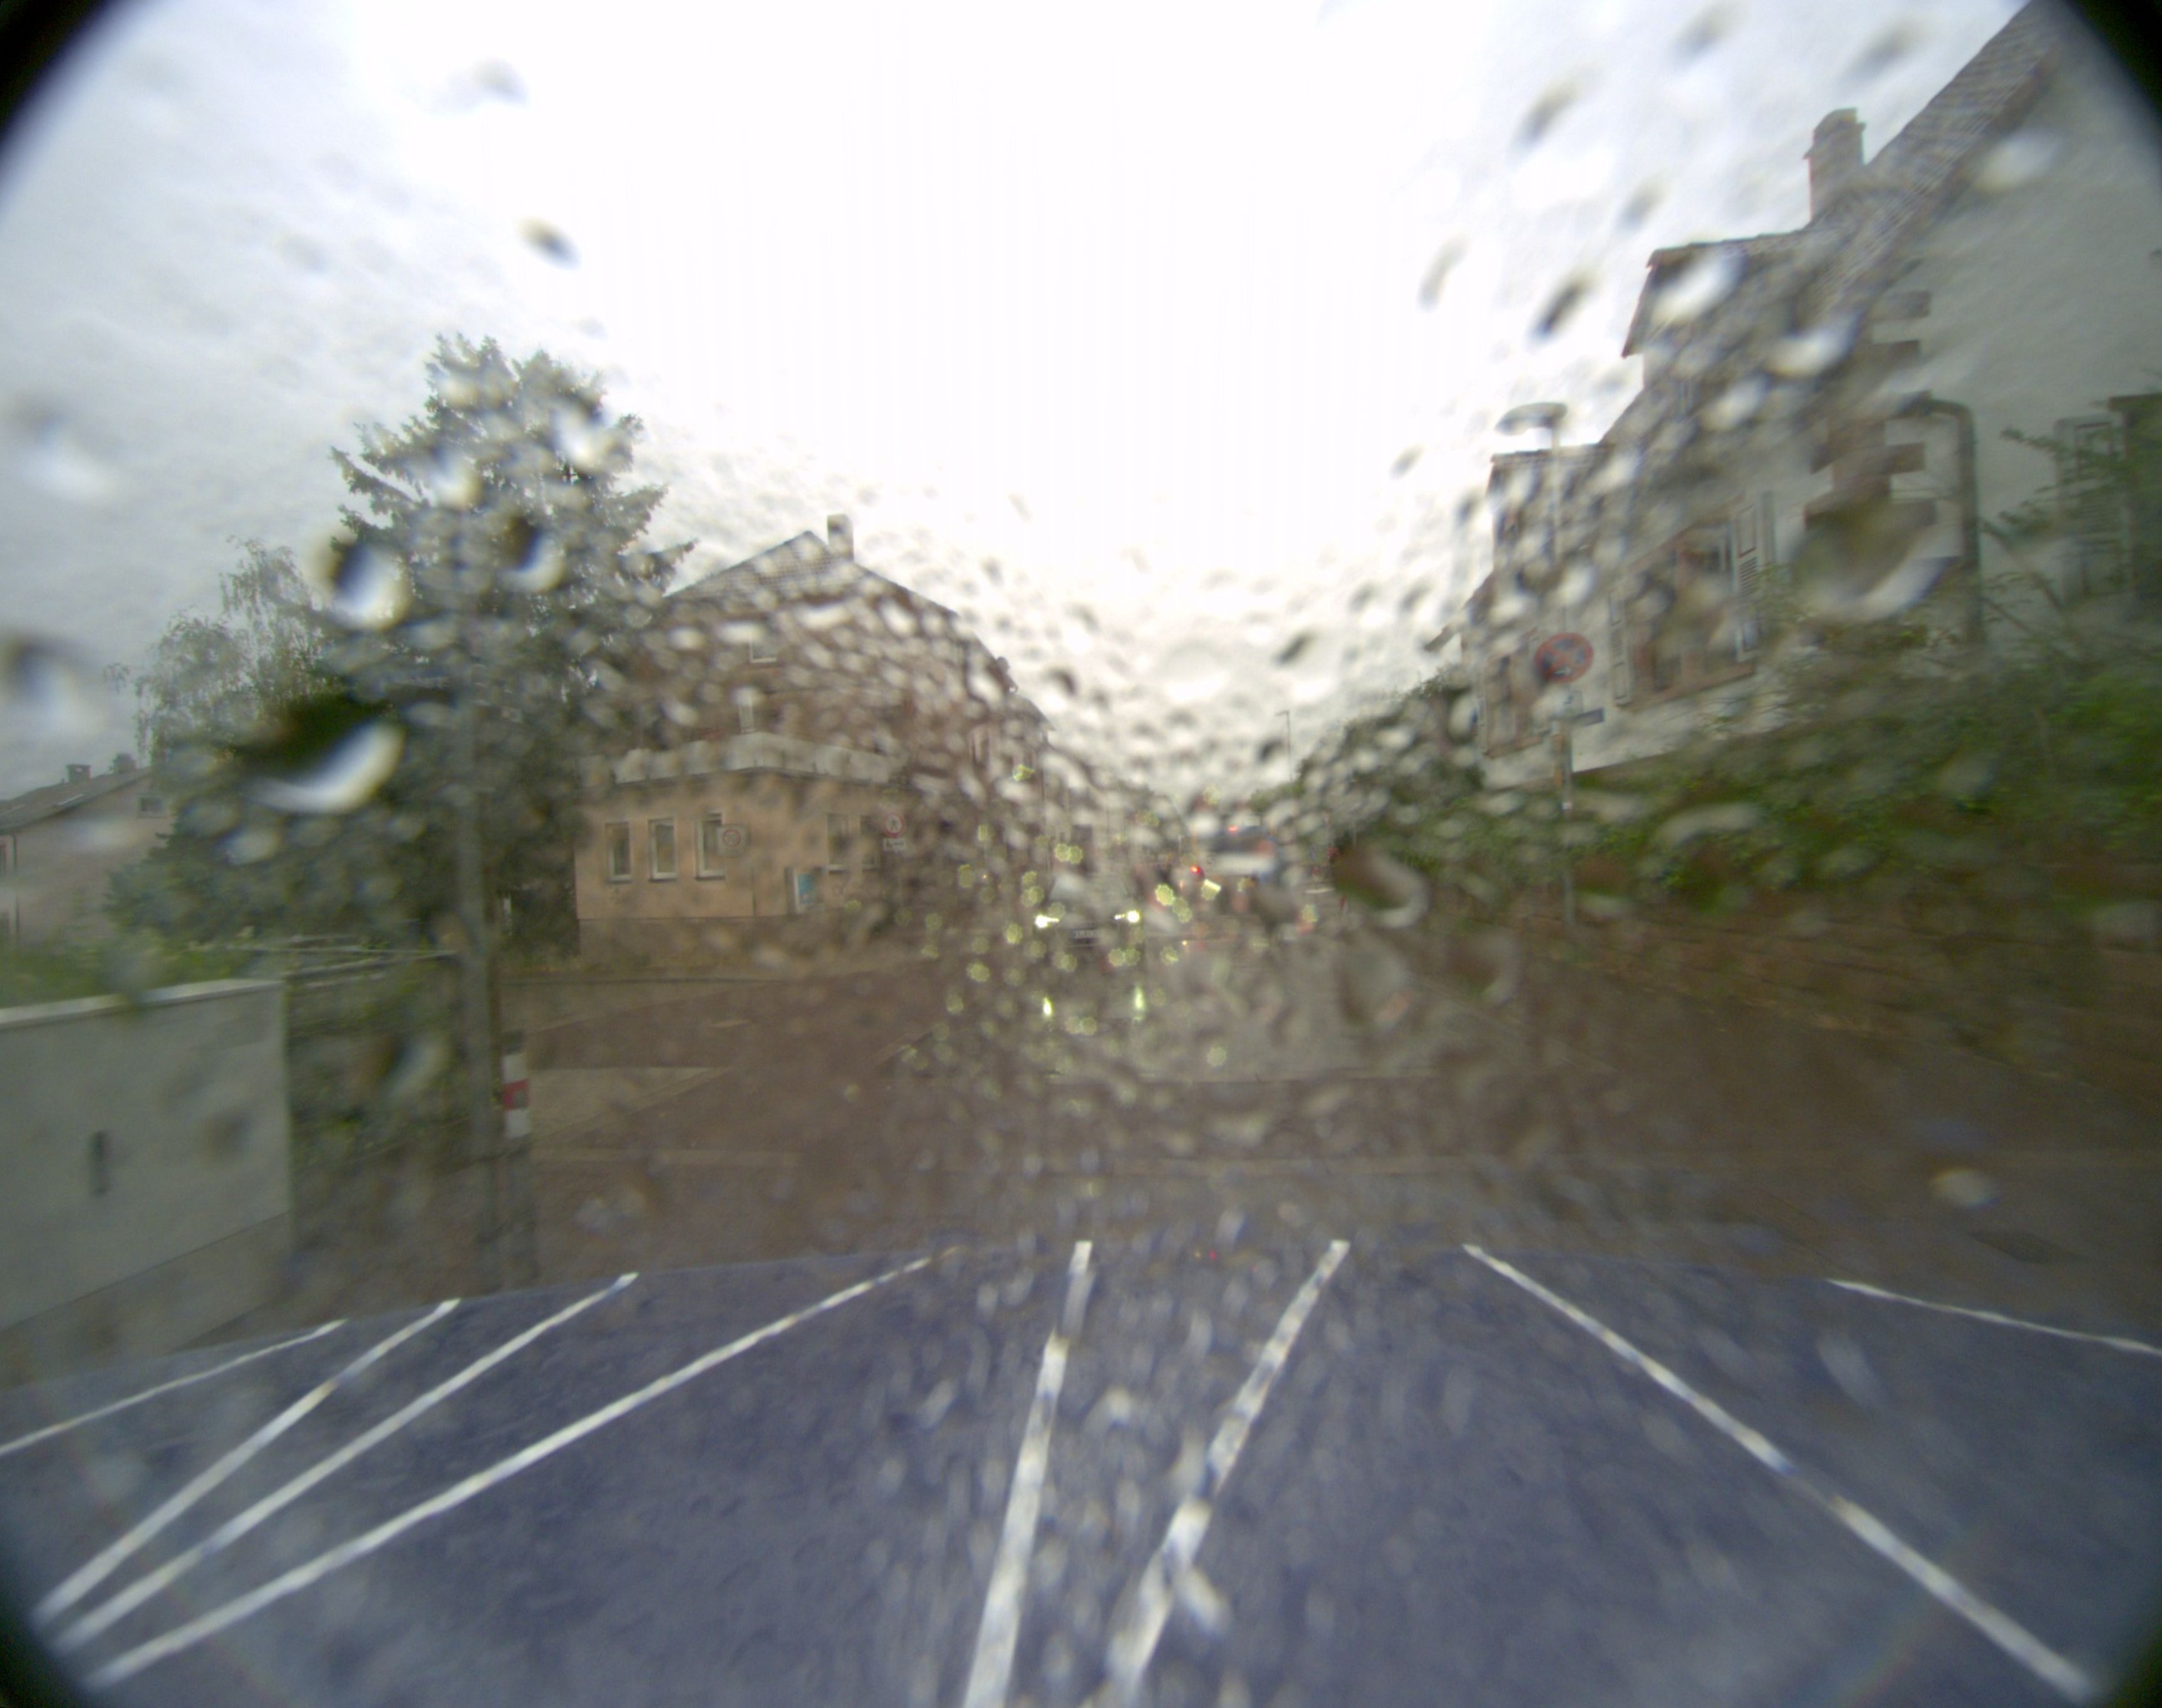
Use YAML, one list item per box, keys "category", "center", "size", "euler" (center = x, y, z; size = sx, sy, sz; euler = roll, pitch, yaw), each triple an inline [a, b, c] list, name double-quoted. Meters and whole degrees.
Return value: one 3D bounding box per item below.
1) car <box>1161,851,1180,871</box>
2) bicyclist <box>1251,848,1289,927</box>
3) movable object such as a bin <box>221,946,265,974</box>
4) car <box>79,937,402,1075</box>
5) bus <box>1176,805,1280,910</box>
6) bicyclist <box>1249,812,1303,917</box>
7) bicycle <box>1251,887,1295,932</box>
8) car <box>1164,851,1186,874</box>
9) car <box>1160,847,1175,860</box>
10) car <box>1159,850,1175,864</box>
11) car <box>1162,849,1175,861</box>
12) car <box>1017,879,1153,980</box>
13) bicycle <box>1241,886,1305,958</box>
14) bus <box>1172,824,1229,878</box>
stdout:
- category: "car"
  center: [9.302, 0.672, 78.518]
  size: [1.779, 1.787, 4.189]
  euler: [-4, 1, 7]
- category: "bicyclist"
  center: [4.400, 0.780, 17.712]
  size: [0.658, 1.759, 0.704]
  euler: [-4, -1, 6]
- category: "movable object such as a bin"
  center: [-26.126, 3.299, 23.694]
  size: [0.741, 0.762, 0.700]
  euler: [-4, 1, 26]
- category: "car"
  center: [-11.996, 2.084, 10.856]
  size: [3.991, 1.462, 1.795]
  euler: [-4, 0, 23]
- category: "bus"
  center: [5.372, 0.068, 28.246]
  size: [2.811, 2.921, 11.950]
  euler: [-4, 0, 10]
- category: "bicyclist"
  center: [3.322, 0.188, 13.011]
  size: [0.689, 1.702, 0.704]
  euler: [-4, -1, 6]
- category: "bicycle"
  center: [4.443, 1.266, 17.706]
  size: [0.662, 0.865, 1.936]
  euler: [-4, -1, 6]
- category: "car"
  center: [8.244, 0.694, 66.609]
  size: [1.779, 1.787, 4.189]
  euler: [-4, 1, 7]
- category: "car"
  center: [11.815, -0.032, 103.729]
  size: [1.779, 1.602, 4.189]
  euler: [-4, 1, 7]
- category: "car"
  center: [10.587, 0.334, 93.245]
  size: [1.779, 1.601, 4.190]
  euler: [-4, 0, 7]
- category: "car"
  center: [12.982, 0.141, 112.963]
  size: [1.779, 1.602, 4.189]
  euler: [-4, 1, 7]
- category: "car"
  center: [0.243, 1.150, 12.886]
  size: [1.779, 1.348, 4.191]
  euler: [-2, -2, 7]
- category: "bicycle"
  center: [3.215, 1.097, 12.918]
  size: [0.682, 1.044, 2.341]
  euler: [-3, -2, 6]
- category: "bus"
  center: [9.204, -0.303, 56.979]
  size: [3.438, 3.392, 13.881]
  euler: [-3, 0, 12]
